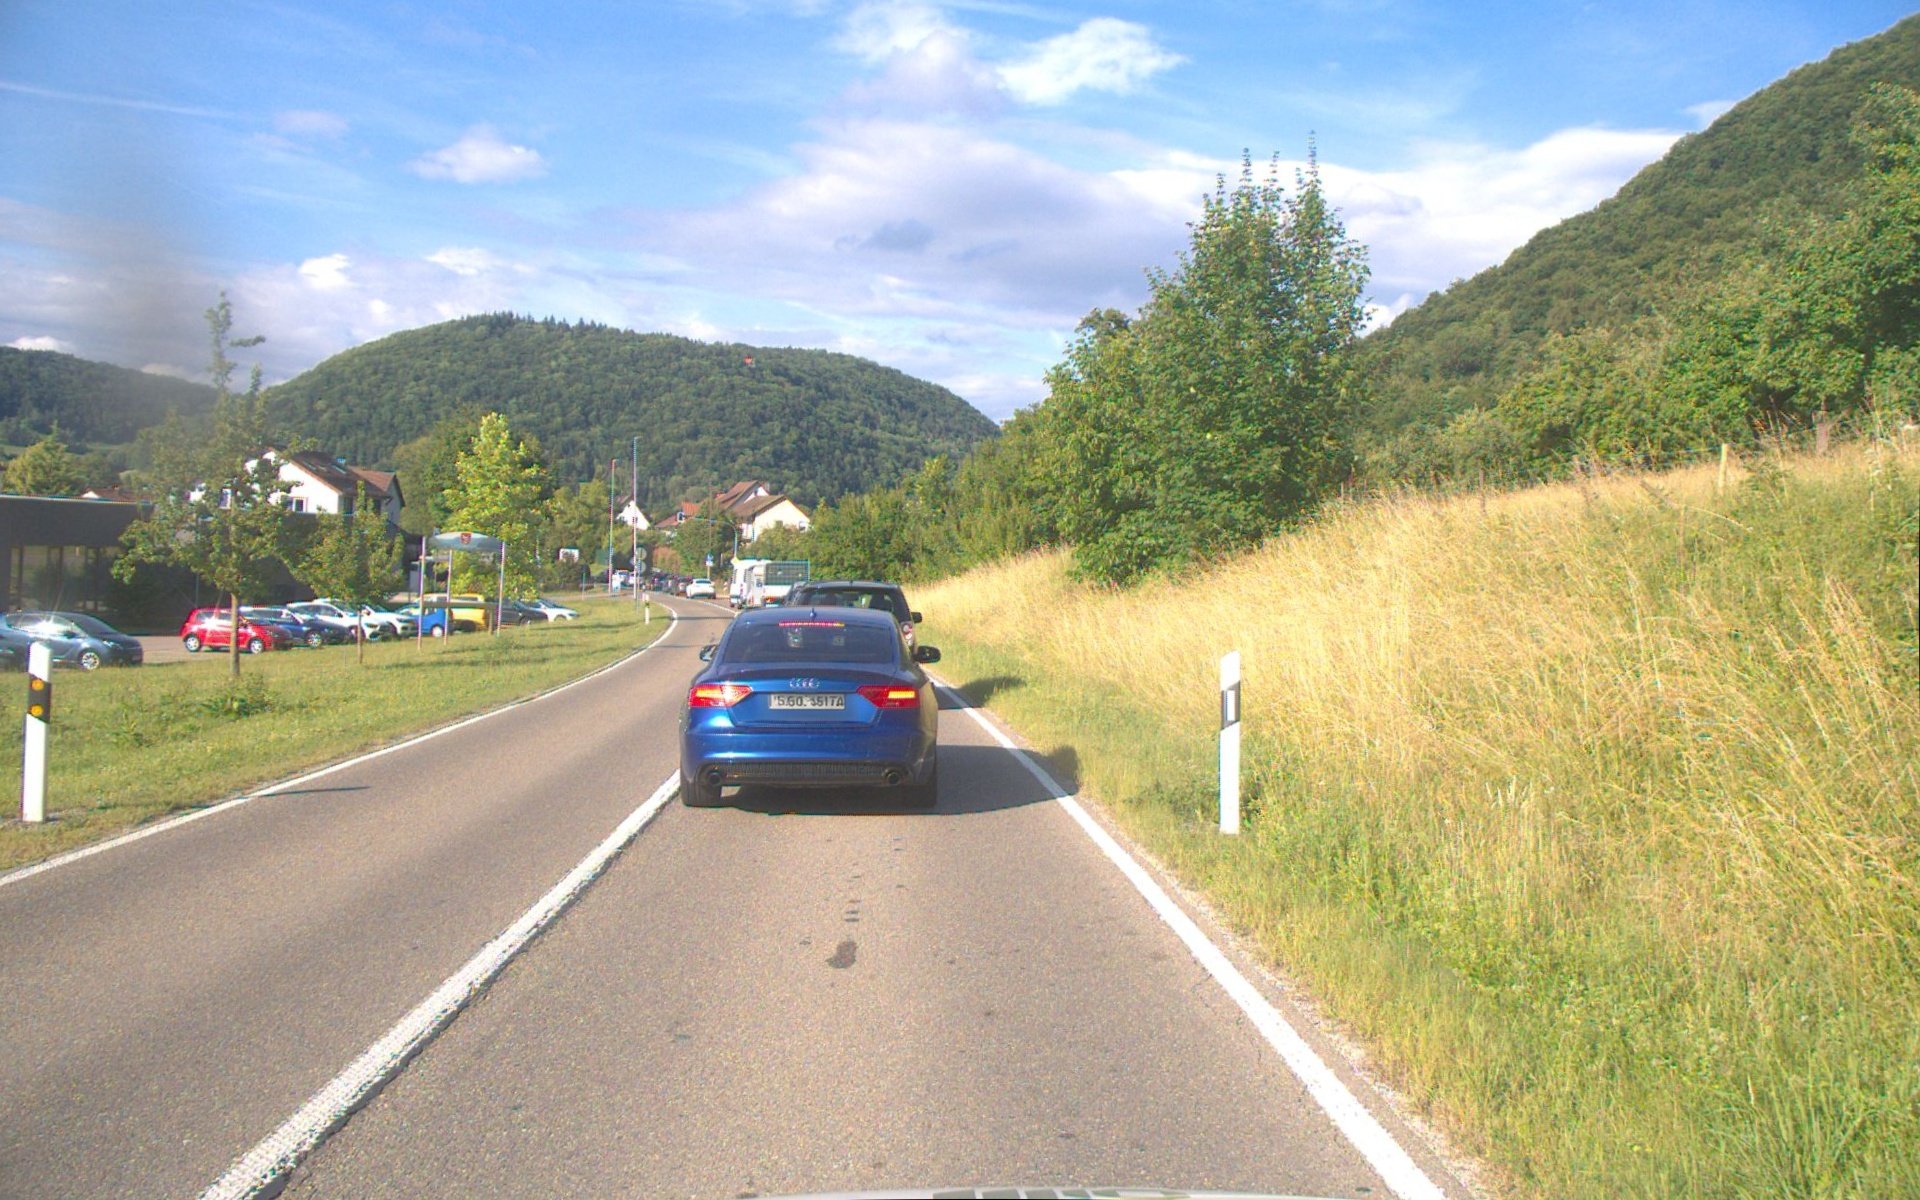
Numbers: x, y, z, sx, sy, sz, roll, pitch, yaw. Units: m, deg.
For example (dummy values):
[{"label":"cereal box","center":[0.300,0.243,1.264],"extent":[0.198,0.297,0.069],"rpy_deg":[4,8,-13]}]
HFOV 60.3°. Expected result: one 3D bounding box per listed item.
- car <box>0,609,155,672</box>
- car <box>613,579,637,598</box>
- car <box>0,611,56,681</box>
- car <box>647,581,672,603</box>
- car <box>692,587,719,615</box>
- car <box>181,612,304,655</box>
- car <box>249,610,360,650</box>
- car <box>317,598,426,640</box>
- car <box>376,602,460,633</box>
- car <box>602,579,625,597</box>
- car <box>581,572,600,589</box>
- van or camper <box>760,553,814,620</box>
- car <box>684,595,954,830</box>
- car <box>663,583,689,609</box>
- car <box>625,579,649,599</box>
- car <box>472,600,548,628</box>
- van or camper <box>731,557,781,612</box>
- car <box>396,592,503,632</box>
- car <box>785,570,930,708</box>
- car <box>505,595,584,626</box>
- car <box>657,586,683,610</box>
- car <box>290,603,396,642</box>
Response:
[{"label":"car","center":[-25.476,1.160,47.649],"extent":[3.738,1.752,1.733],"rpy_deg":[0,0,3]},{"label":"car","center":[-34.872,-1.229,172.092],"extent":[1.654,1.958,3.972],"rpy_deg":[0,0,-22]},{"label":"car","center":[-25.922,1.157,43.068],"extent":[3.782,1.752,1.756],"rpy_deg":[1,0,1]},{"label":"car","center":[-27.216,-0.733,149.886],"extent":[1.652,1.958,3.977],"rpy_deg":[0,0,-19]},{"label":"car","center":[-18.338,0.093,119.046],"extent":[1.631,1.958,3.986],"rpy_deg":[0,0,-13]},{"label":"car","center":[-25.040,1.157,57.785],"extent":[3.548,1.469,1.649],"rpy_deg":[0,0,4]},{"label":"car","center":[-24.857,1.136,62.796],"extent":[3.548,1.429,1.598],"rpy_deg":[0,2,4]},{"label":"car","center":[-24.686,0.771,69.449],"extent":[3.991,1.702,1.598],"rpy_deg":[0,1,4]},{"label":"car","center":[-24.672,0.794,75.351],"extent":[3.302,1.397,1.659],"rpy_deg":[0,0,-4]},{"label":"car","center":[-37.586,-1.265,179.397],"extent":[1.926,1.958,3.977],"rpy_deg":[0,0,-19]},{"label":"car","center":[-43.283,-2.263,193.860],"extent":[1.652,1.958,3.976],"rpy_deg":[0,0,-20]},{"label":"van or camper","center":[-6.970,-0.527,66.231],"extent":[2.013,2.549,5.802],"rpy_deg":[0,0,-7]},{"label":"car","center":[-1.045,0.705,12.247],"extent":[1.708,1.476,3.513],"rpy_deg":[0,0,-5]},{"label":"car","center":[-22.345,-0.319,129.932],"extent":[1.632,1.958,3.984],"rpy_deg":[0,0,-15]},{"label":"car","center":[-31.897,-1.091,163.127],"extent":[1.653,1.958,3.974],"rpy_deg":[0,0,-21]},{"label":"car","center":[-23.915,0.722,87.931],"extent":[3.634,1.465,1.510],"rpy_deg":[0,0,4]},{"label":"van or camper","center":[-10.595,-0.778,85.436],"extent":[2.239,2.761,5.753],"rpy_deg":[0,0,-10]},{"label":"car","center":[-24.042,0.564,78.000],"extent":[4.457,1.846,1.842],"rpy_deg":[0,0,4]},{"label":"car","center":[-1.432,0.476,22.025],"extent":[1.615,1.653,3.510],"rpy_deg":[2,0,-8]},{"label":"car","center":[-23.213,0.597,92.525],"extent":[3.950,1.689,1.656],"rpy_deg":[0,0,4]},{"label":"car","center":[-24.493,-0.163,139.830],"extent":[1.634,1.958,3.979],"rpy_deg":[0,0,-18]},{"label":"car","center":[-24.601,0.878,66.017],"extent":[3.589,1.520,1.597],"rpy_deg":[0,0,4]}]
